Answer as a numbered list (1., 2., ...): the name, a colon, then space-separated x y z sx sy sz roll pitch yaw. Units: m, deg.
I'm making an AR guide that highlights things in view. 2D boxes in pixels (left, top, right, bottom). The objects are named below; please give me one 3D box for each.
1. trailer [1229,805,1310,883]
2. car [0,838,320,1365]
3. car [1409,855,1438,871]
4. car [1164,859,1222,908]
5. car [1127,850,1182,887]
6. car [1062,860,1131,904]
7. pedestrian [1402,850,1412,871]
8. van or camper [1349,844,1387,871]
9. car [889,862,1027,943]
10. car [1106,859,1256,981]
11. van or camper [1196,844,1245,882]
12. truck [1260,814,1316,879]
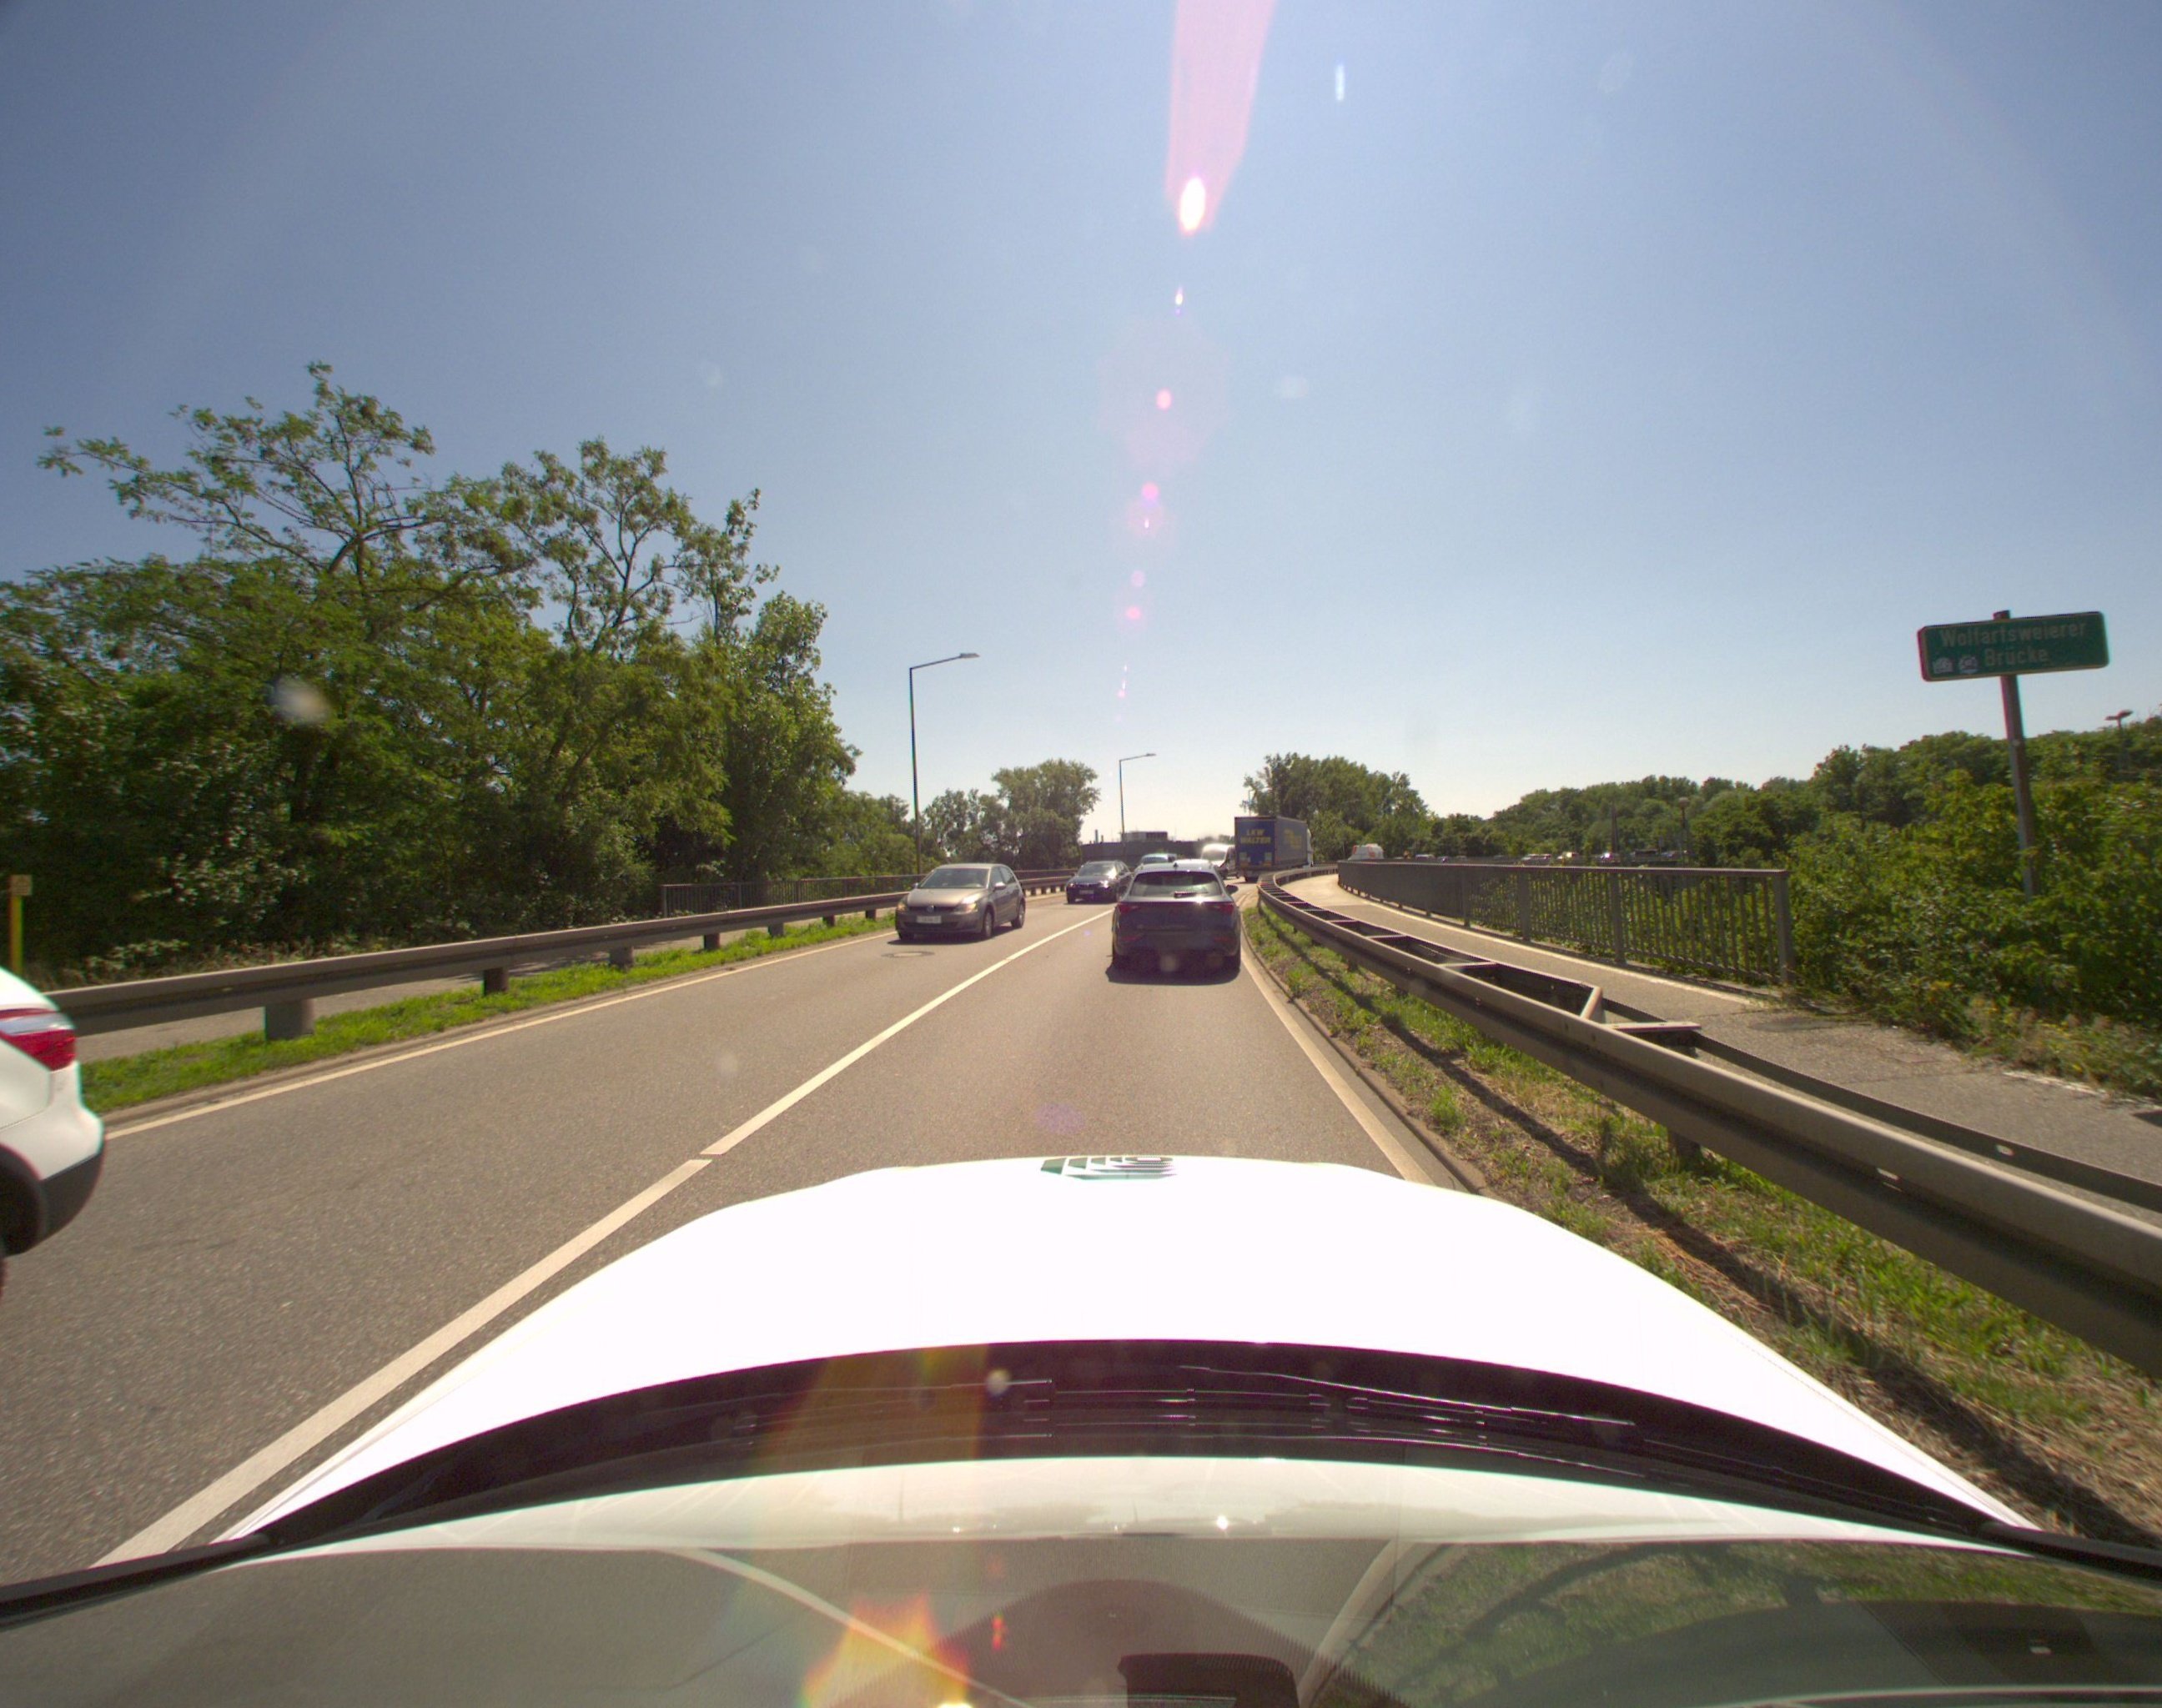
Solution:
1. trailer: 12.949 -0.522 54.735 3.106 4.614 13.017 0 -1 23
2. car: -4.153 0.720 1.178 1.738 1.546 4.398 0 -1 5
3. car: 40.676 1.102 96.597 1.871 1.850 4.023 -1 -2 43
4. car: 3.713 0.917 26.497 1.582 1.461 3.556 0 -1 12
5. car: 3.938 0.744 43.033 1.741 1.855 4.297 0 -1 21
6. car: 0.650 0.943 29.198 1.745 1.442 4.581 0 -1 11
7. pedestrian: 31.569 0.655 78.899 0.729 1.967 0.739 -1 -2 35
8. van or camper: 29.596 0.389 83.795 2.181 2.711 5.963 -1 -1 34
9. car: -2.362 0.899 16.790 1.707 1.428 4.116 -1 0 7
10. car: 1.379 0.828 11.926 1.837 1.499 3.762 0 -1 4
11. van or camper: 10.160 0.606 58.906 2.029 2.537 5.917 -2 -1 24
12. truck: 15.705 -0.432 61.487 3.143 4.585 7.435 0 -1 22
